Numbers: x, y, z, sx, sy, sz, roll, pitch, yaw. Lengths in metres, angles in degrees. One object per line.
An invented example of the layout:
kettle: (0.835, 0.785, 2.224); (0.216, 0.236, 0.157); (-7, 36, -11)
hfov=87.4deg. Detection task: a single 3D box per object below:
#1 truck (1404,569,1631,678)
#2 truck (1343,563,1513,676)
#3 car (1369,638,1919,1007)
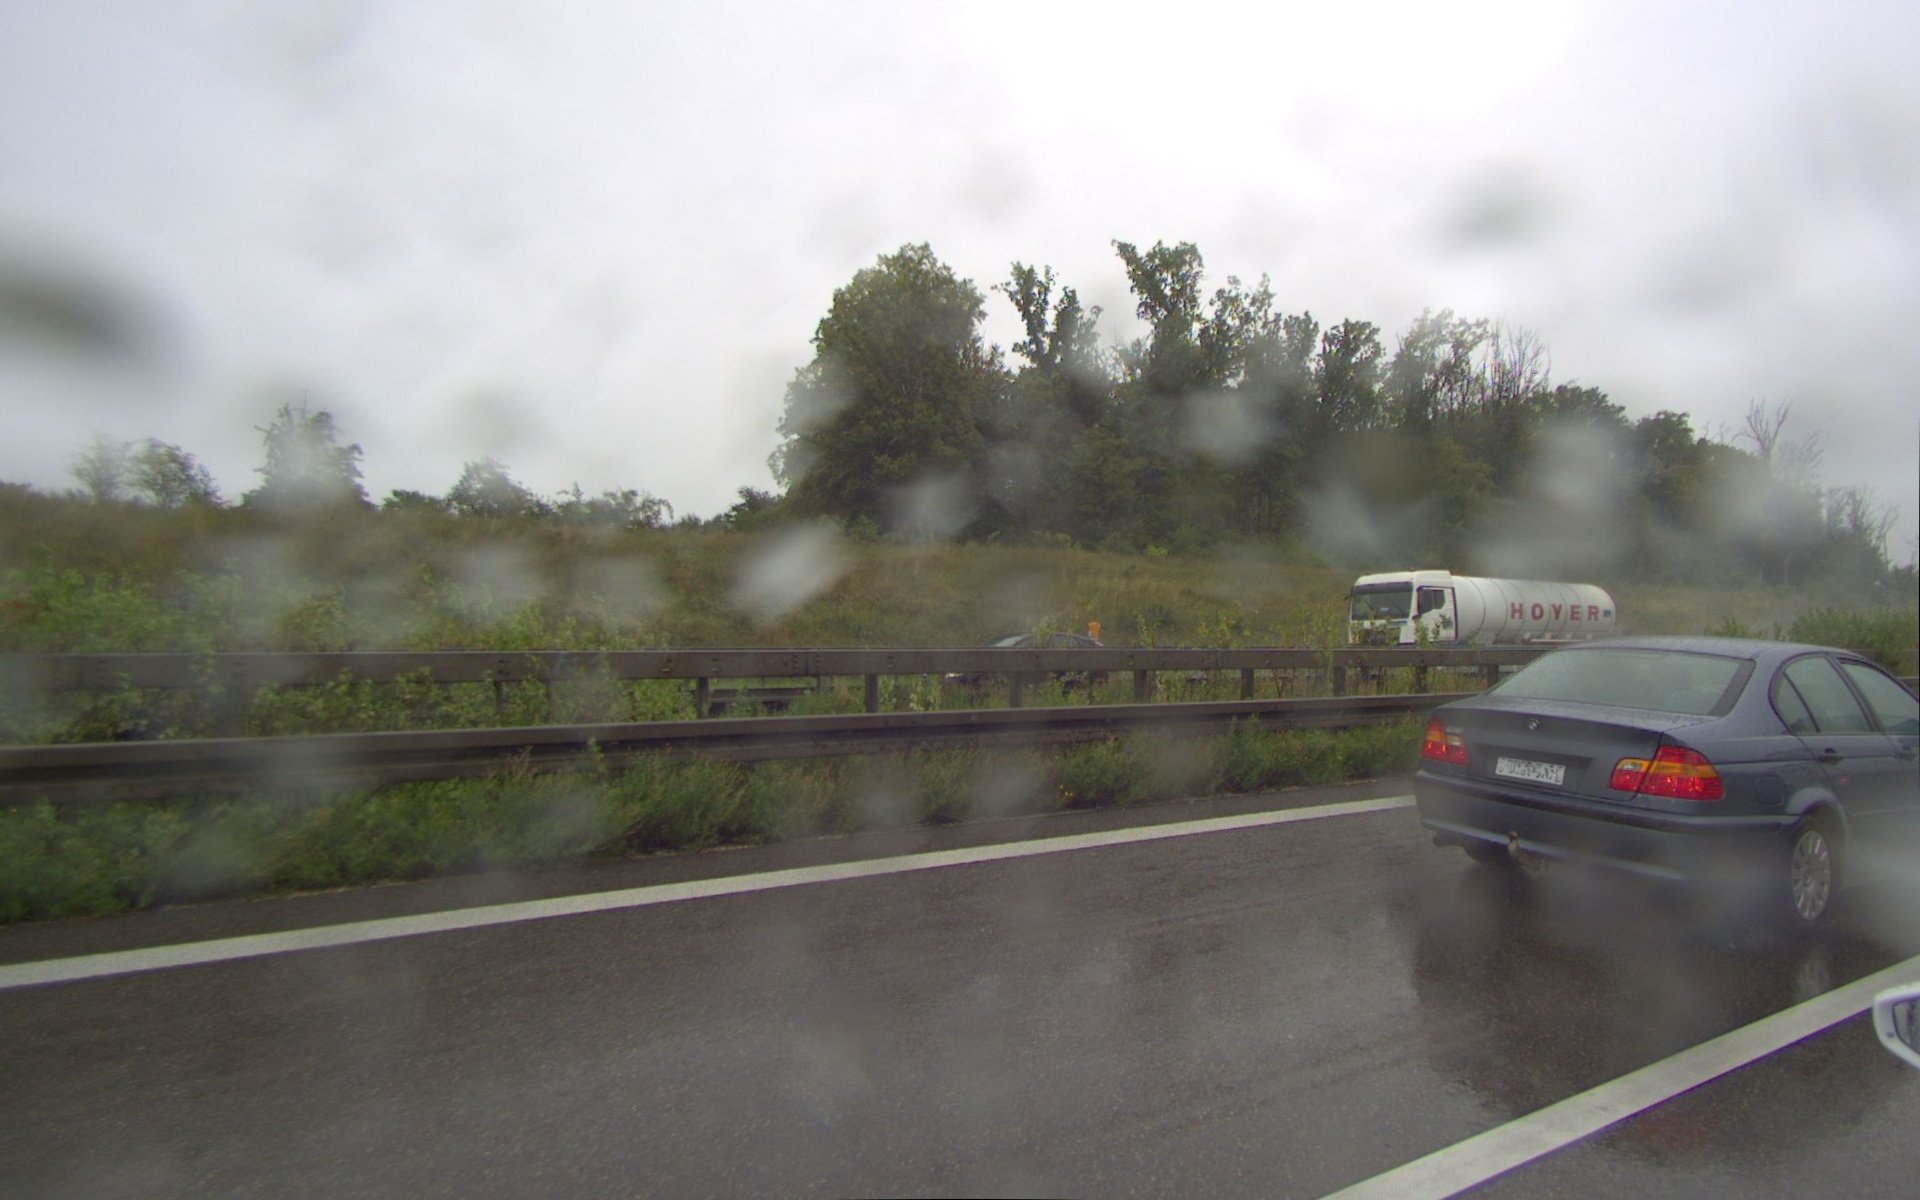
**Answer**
truck: (19.454, 0.943, 34.809); (9.240, 3.341, 2.543); (3, -3, -30)
truck: (14.998, 0.721, 32.160); (5.140, 3.323, 2.529); (2, -3, -31)
car: (4.469, 0.970, 5.835); (4.181, 1.418, 1.709); (2, -1, -31)
